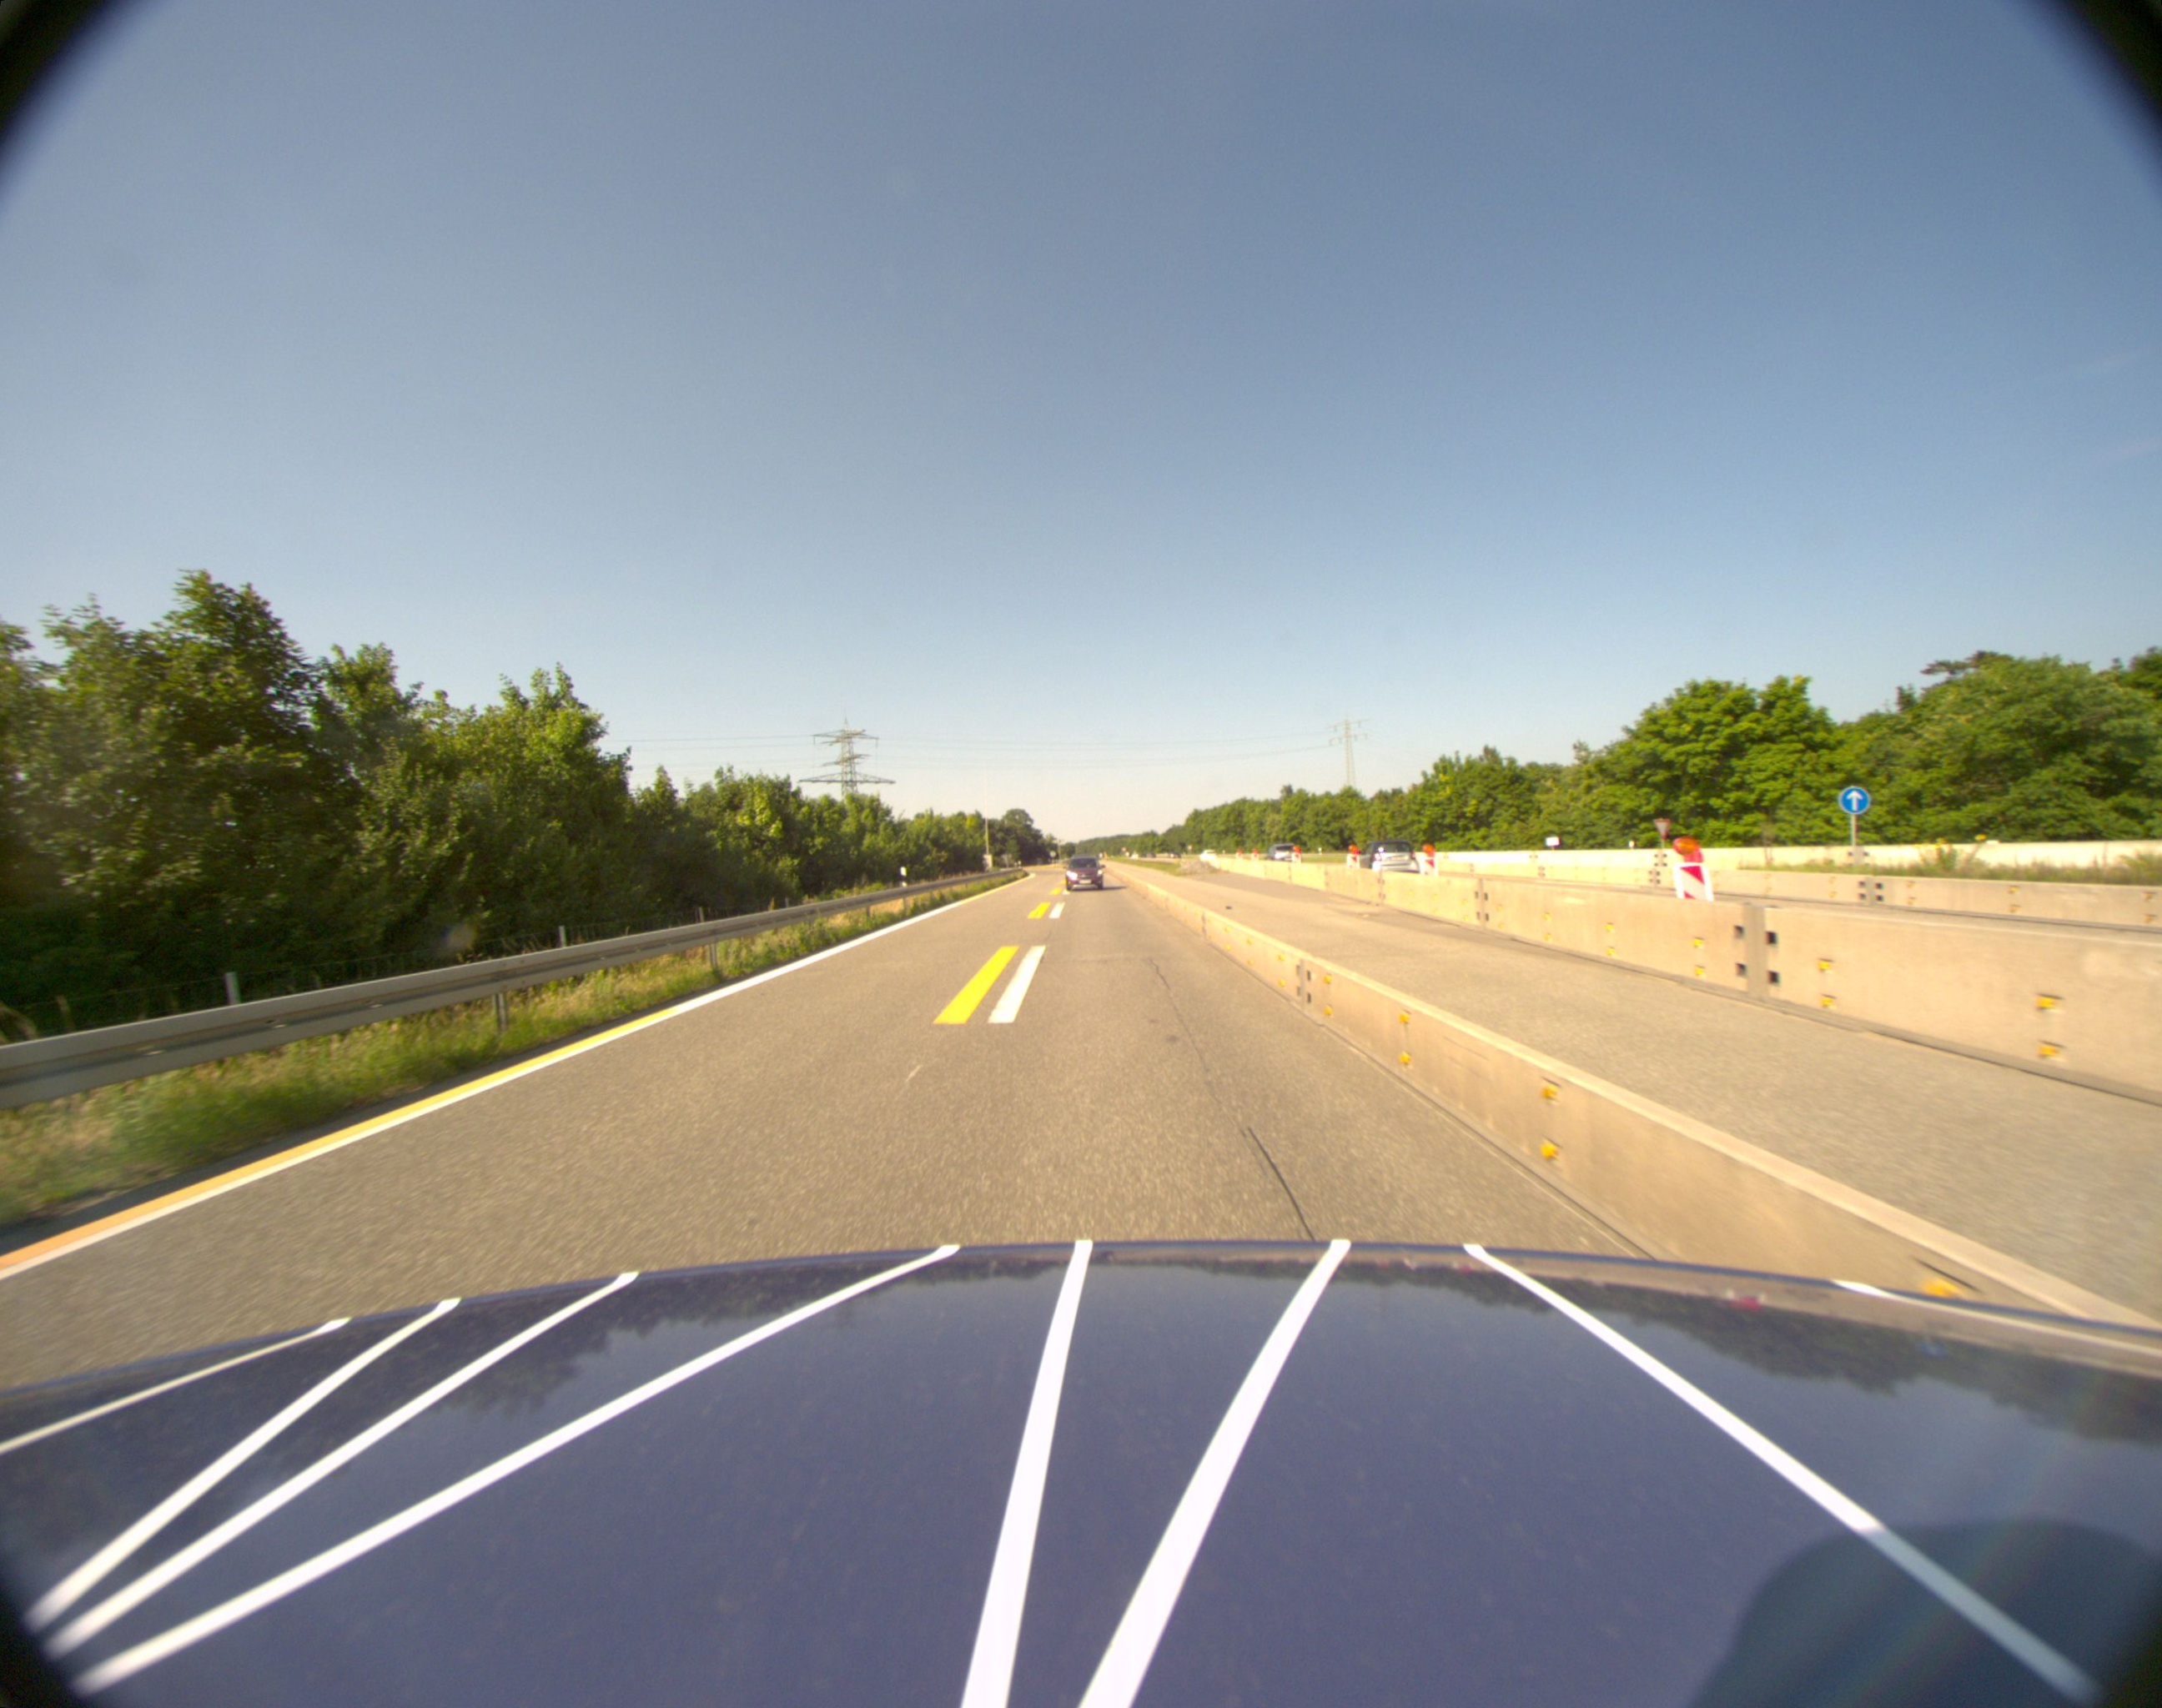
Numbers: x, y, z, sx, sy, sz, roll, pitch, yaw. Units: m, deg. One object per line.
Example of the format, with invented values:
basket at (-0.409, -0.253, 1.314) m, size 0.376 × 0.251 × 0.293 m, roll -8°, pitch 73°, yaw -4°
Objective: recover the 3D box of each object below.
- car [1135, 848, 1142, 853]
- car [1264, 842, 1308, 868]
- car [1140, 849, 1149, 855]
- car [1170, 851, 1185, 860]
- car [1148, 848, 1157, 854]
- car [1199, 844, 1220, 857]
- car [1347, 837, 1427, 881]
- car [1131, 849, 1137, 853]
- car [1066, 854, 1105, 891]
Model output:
car at (18.064, -1.020, 238.918) m, size 1.764 × 1.462 × 4.794 m, roll -3°, pitch 0°, yaw 0°
car at (13.424, 0.034, 49.900) m, size 1.998 × 1.507 × 4.582 m, roll -3°, pitch 0°, yaw 6°
car at (16.912, -0.548, 202.200) m, size 1.820 × 1.479 × 5.023 m, roll -3°, pitch 0°, yaw 1°
car at (15.962, 0.195, 125.737) m, size 1.844 × 1.432 × 4.813 m, roll -1°, pitch 0°, yaw 2°
car at (17.525, -0.678, 185.906) m, size 1.801 × 1.426 × 4.592 m, roll -3°, pitch 0°, yaw 1°
car at (16.214, -0.397, 95.835) m, size 1.822 × 1.598 × 4.438 m, roll -2°, pitch 0°, yaw 0°
car at (11.599, 0.170, 29.110) m, size 1.715 × 1.507 × 4.180 m, roll -2°, pitch 0°, yaw 6°
car at (17.825, -0.985, 257.637) m, size 1.743 × 1.485 × 4.109 m, roll -3°, pitch 0°, yaw 0°
car at (0.246, 0.808, 34.019) m, size 1.587 × 1.491 × 4.416 m, roll -1°, pitch -1°, yaw 2°
